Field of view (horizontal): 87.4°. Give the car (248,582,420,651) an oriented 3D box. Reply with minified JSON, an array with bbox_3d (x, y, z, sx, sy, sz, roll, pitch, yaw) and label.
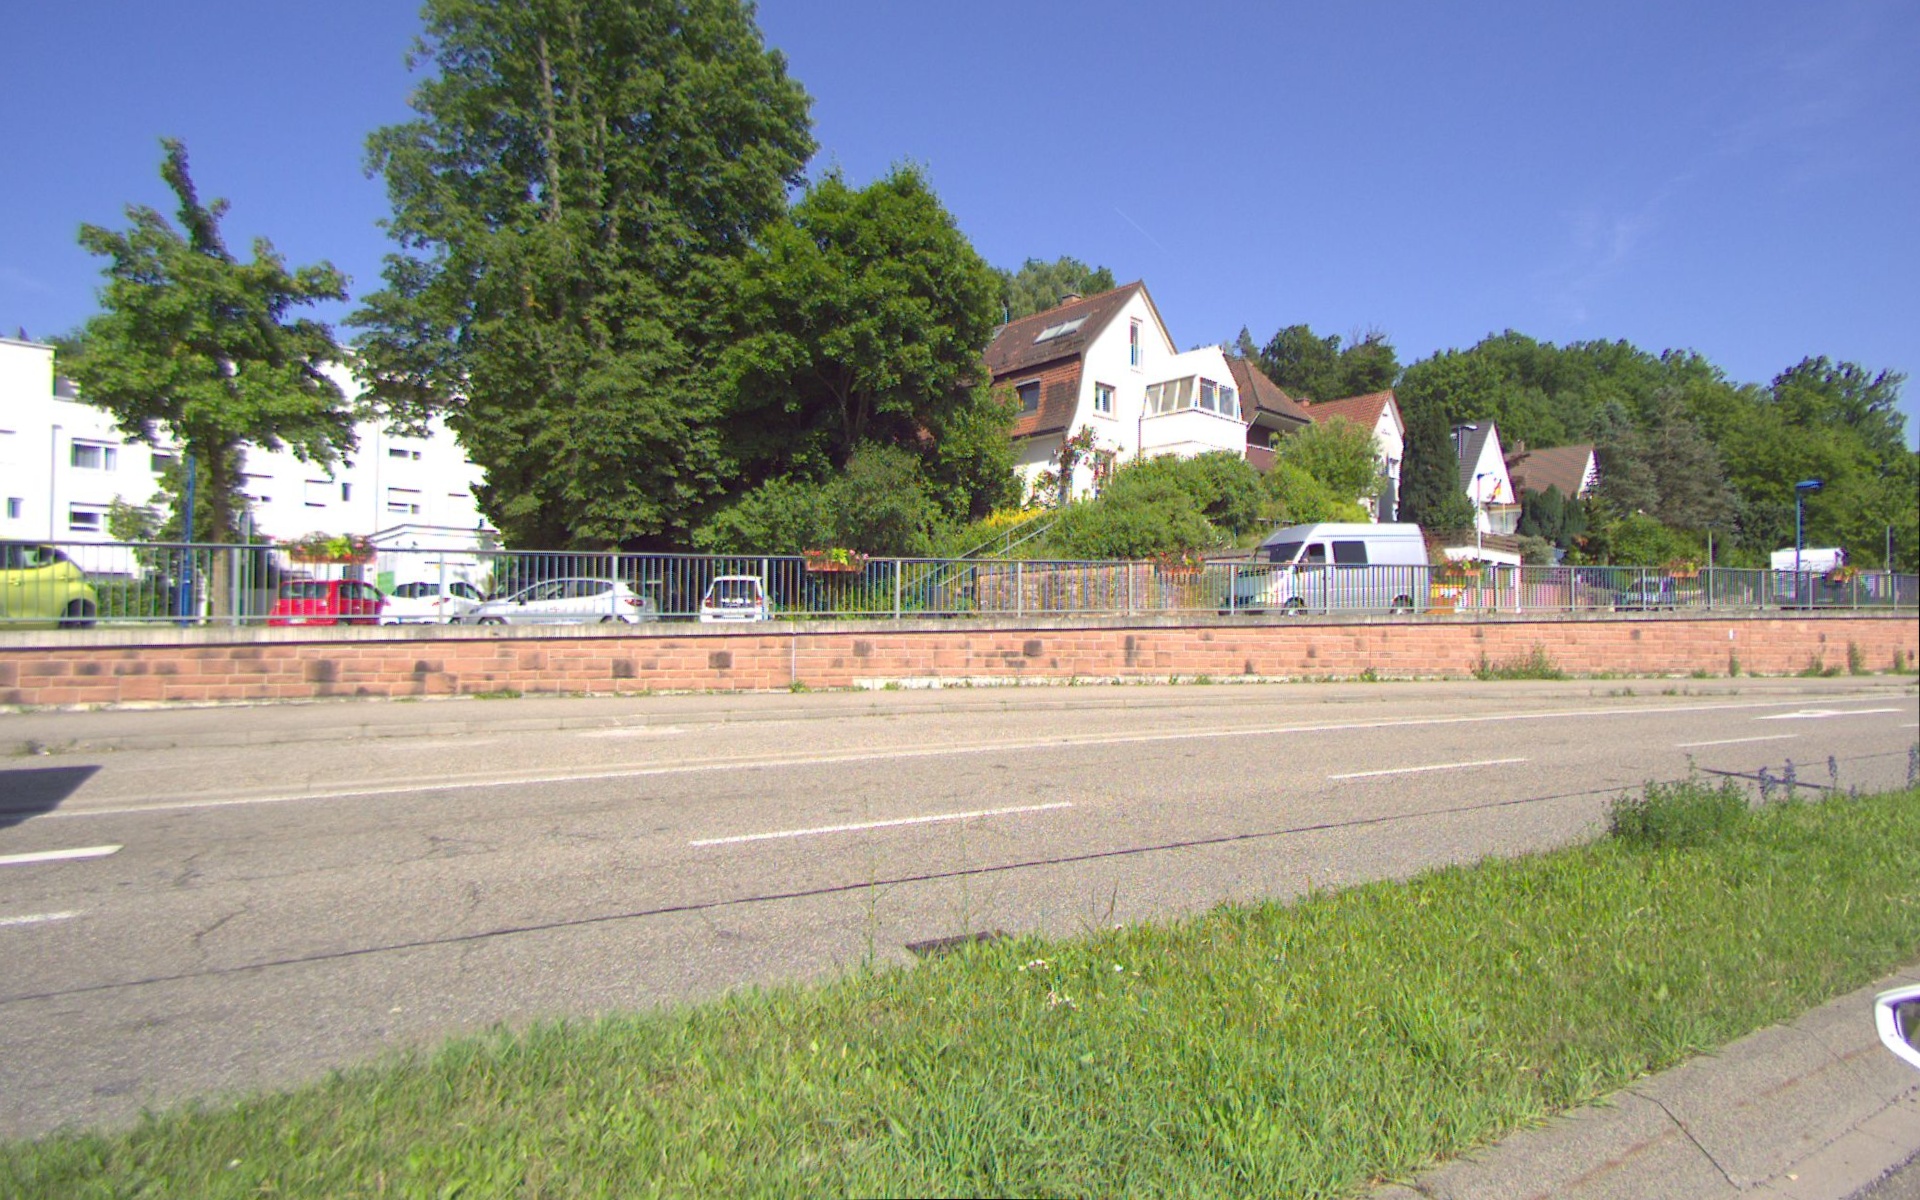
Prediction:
[{"bbox_3d":[-15.556,0.350,25.250,1.876,1.581,3.999,1,1,-1],"label":"car"}]

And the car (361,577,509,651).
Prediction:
[{"bbox_3d":[-13.158,0.277,25.473,1.877,1.724,3.997,0,1,-4],"label":"car"}]

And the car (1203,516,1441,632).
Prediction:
[{"bbox_3d":[8.632,-0.590,23.808,5.715,2.477,2.083,0,2,-30],"label":"car"}]

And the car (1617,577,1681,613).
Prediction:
[{"bbox_3d":[33.298,-0.227,48.530,1.876,1.651,3.975,0,-1,45],"label":"car"}]

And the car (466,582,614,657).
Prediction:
[{"bbox_3d":[-10.306,0.414,25.012,1.960,1.694,4.000,1,1,1],"label":"car"}]

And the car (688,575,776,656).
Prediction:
[{"bbox_3d":[-5.738,0.322,25.705,1.879,1.901,3.993,0,1,-9],"label":"car"}]

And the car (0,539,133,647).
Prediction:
[{"bbox_3d":[-13.412,-0.107,13.165,1.876,1.400,3.999,1,1,-1],"label":"car"}]

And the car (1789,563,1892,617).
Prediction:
[{"bbox_3d":[34.076,-0.393,38.823,4.685,1.946,2.006,0,2,-36],"label":"car"}]

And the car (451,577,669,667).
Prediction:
[{"bbox_3d":[-8.520,0.467,21.668,3.922,1.813,1.922,1,-1,-1],"label":"car"}]
